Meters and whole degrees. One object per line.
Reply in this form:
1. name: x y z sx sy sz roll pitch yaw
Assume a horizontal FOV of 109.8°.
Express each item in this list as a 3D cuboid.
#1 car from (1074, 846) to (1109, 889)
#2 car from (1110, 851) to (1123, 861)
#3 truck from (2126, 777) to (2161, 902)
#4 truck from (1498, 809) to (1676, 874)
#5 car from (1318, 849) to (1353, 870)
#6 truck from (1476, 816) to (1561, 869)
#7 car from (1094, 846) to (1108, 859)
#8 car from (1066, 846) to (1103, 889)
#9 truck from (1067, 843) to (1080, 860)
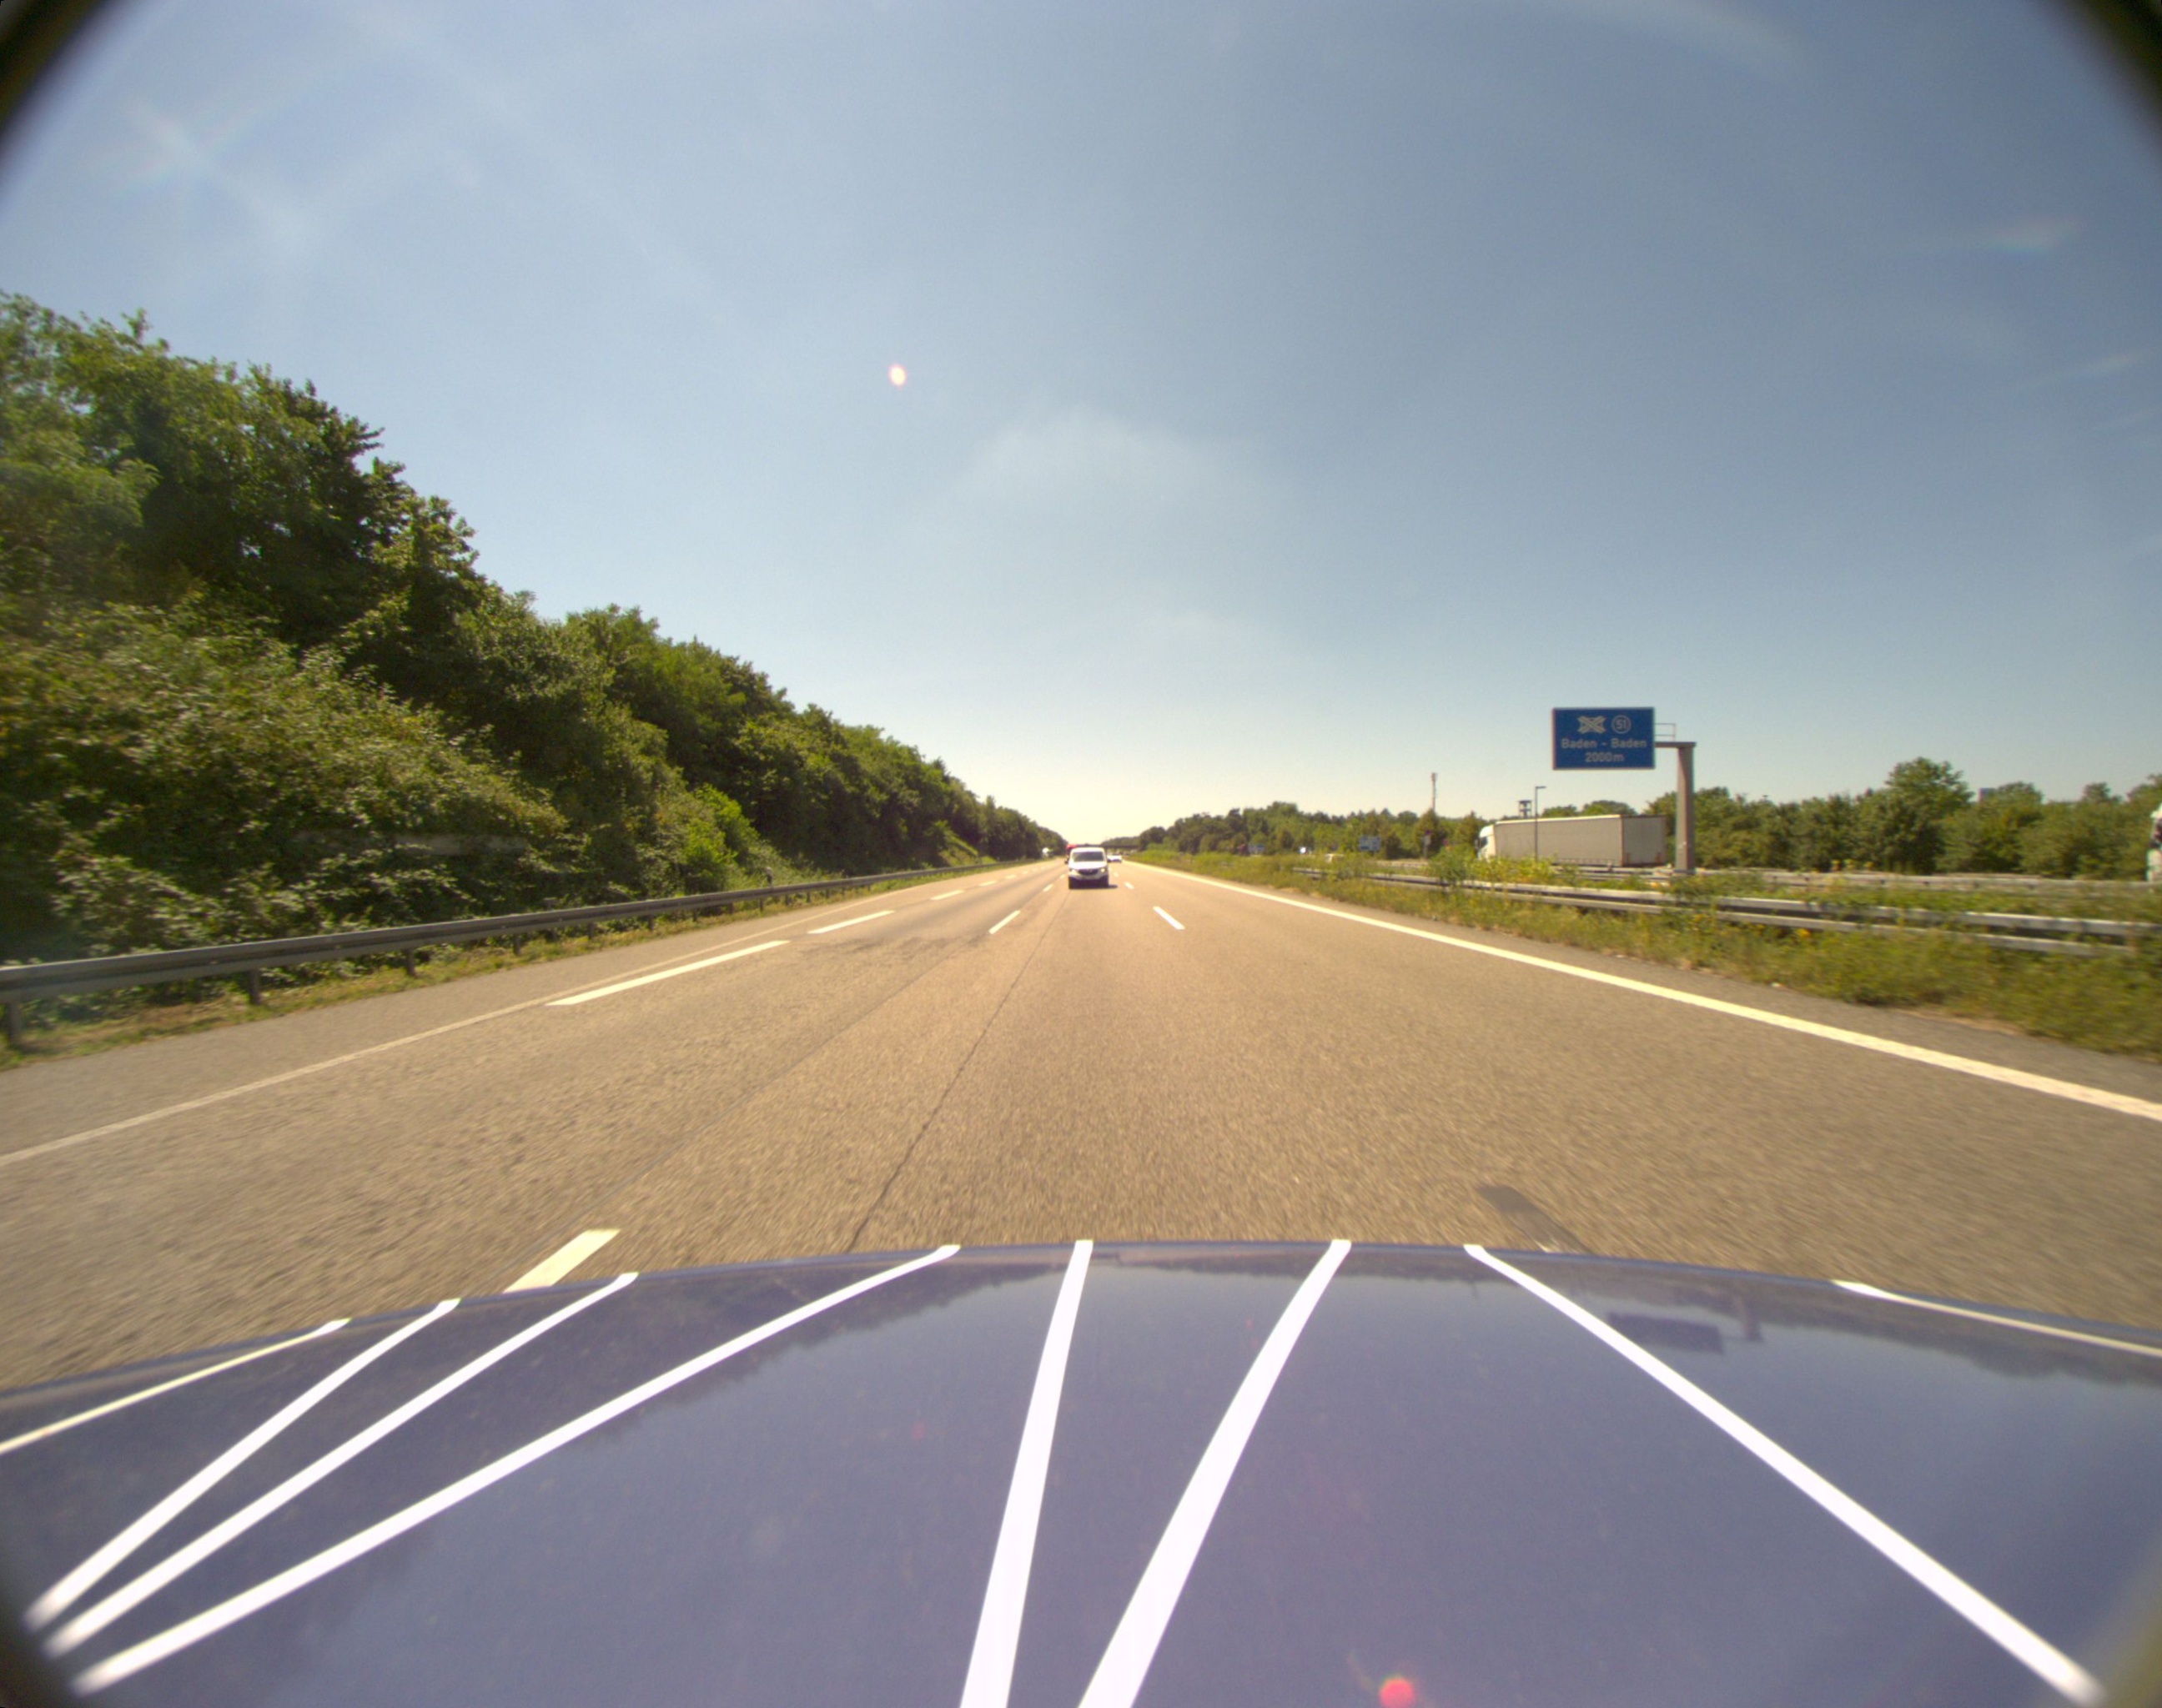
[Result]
1. car: 0.469 0.581 34.257 1.413 1.795 3.200 -3 1 1
2. car: 5.305 0.242 114.500 1.775 1.410 3.401 -3 1 2
3. truck: 37.272 -0.510 21.811 3.102 4.128 8.315 -3 1 1
4. truck: 32.712 -0.790 50.334 2.806 3.622 13.605 -3 1 1
5. car: 22.726 0.470 68.079 1.654 1.737 4.408 -3 1 1
6. truck: 32.838 -0.842 57.304 2.806 3.622 6.146 -3 1 1
7. car: 2.611 -0.200 97.688 1.692 1.497 3.793 -3 1 2
8. car: 0.186 0.568 34.116 1.501 1.799 3.394 -3 1 1
9. truck: -1.718 -0.653 172.841 2.540 3.656 5.220 -3 1 2
